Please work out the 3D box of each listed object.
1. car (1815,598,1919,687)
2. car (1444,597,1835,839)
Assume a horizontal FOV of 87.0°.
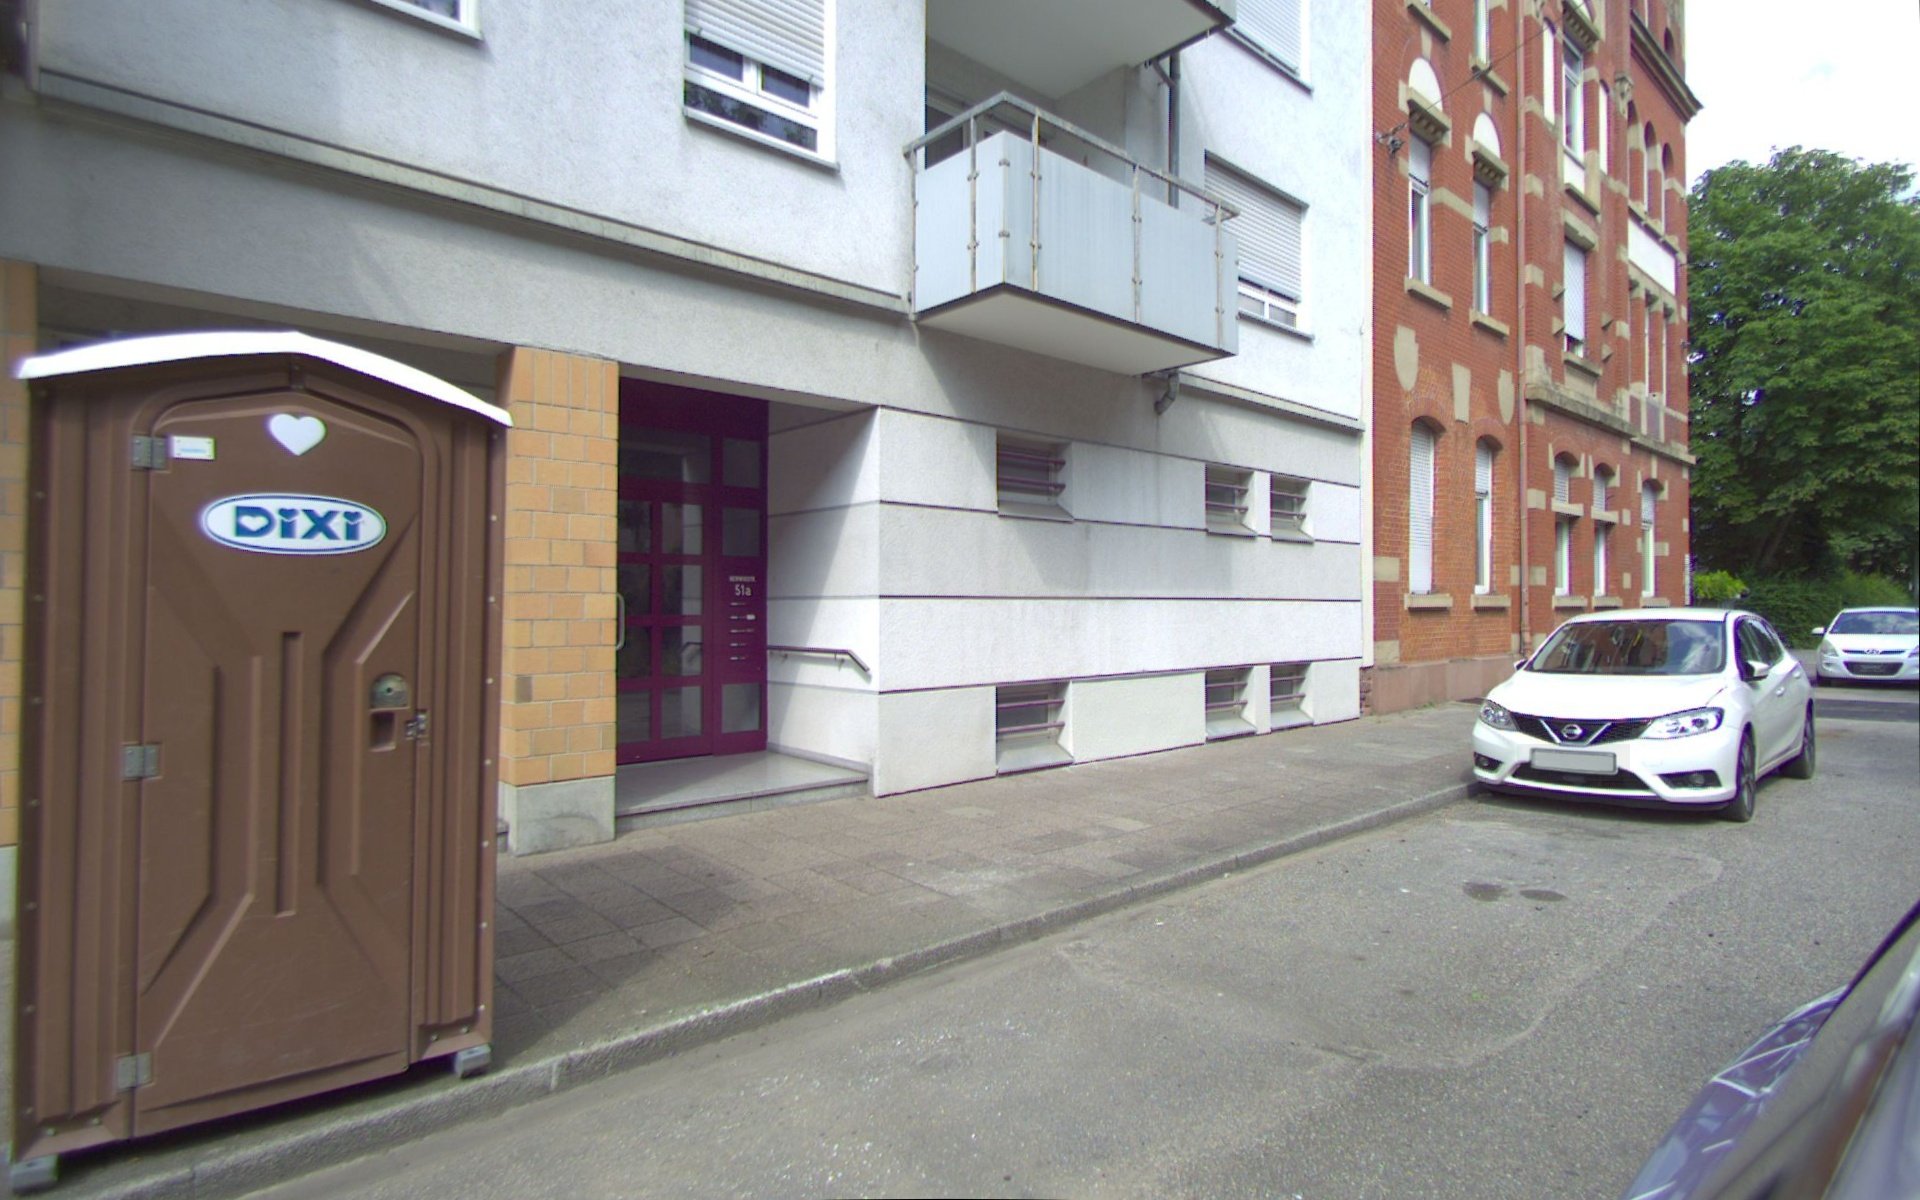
[{"bbox_3d":[17.782,0.745,19.220,3.971,1.550,1.799,0,-1,-42],"label":"car"},{"bbox_3d":[5.831,0.772,8.502,3.971,1.549,1.799,0,-1,-42],"label":"car"}]
